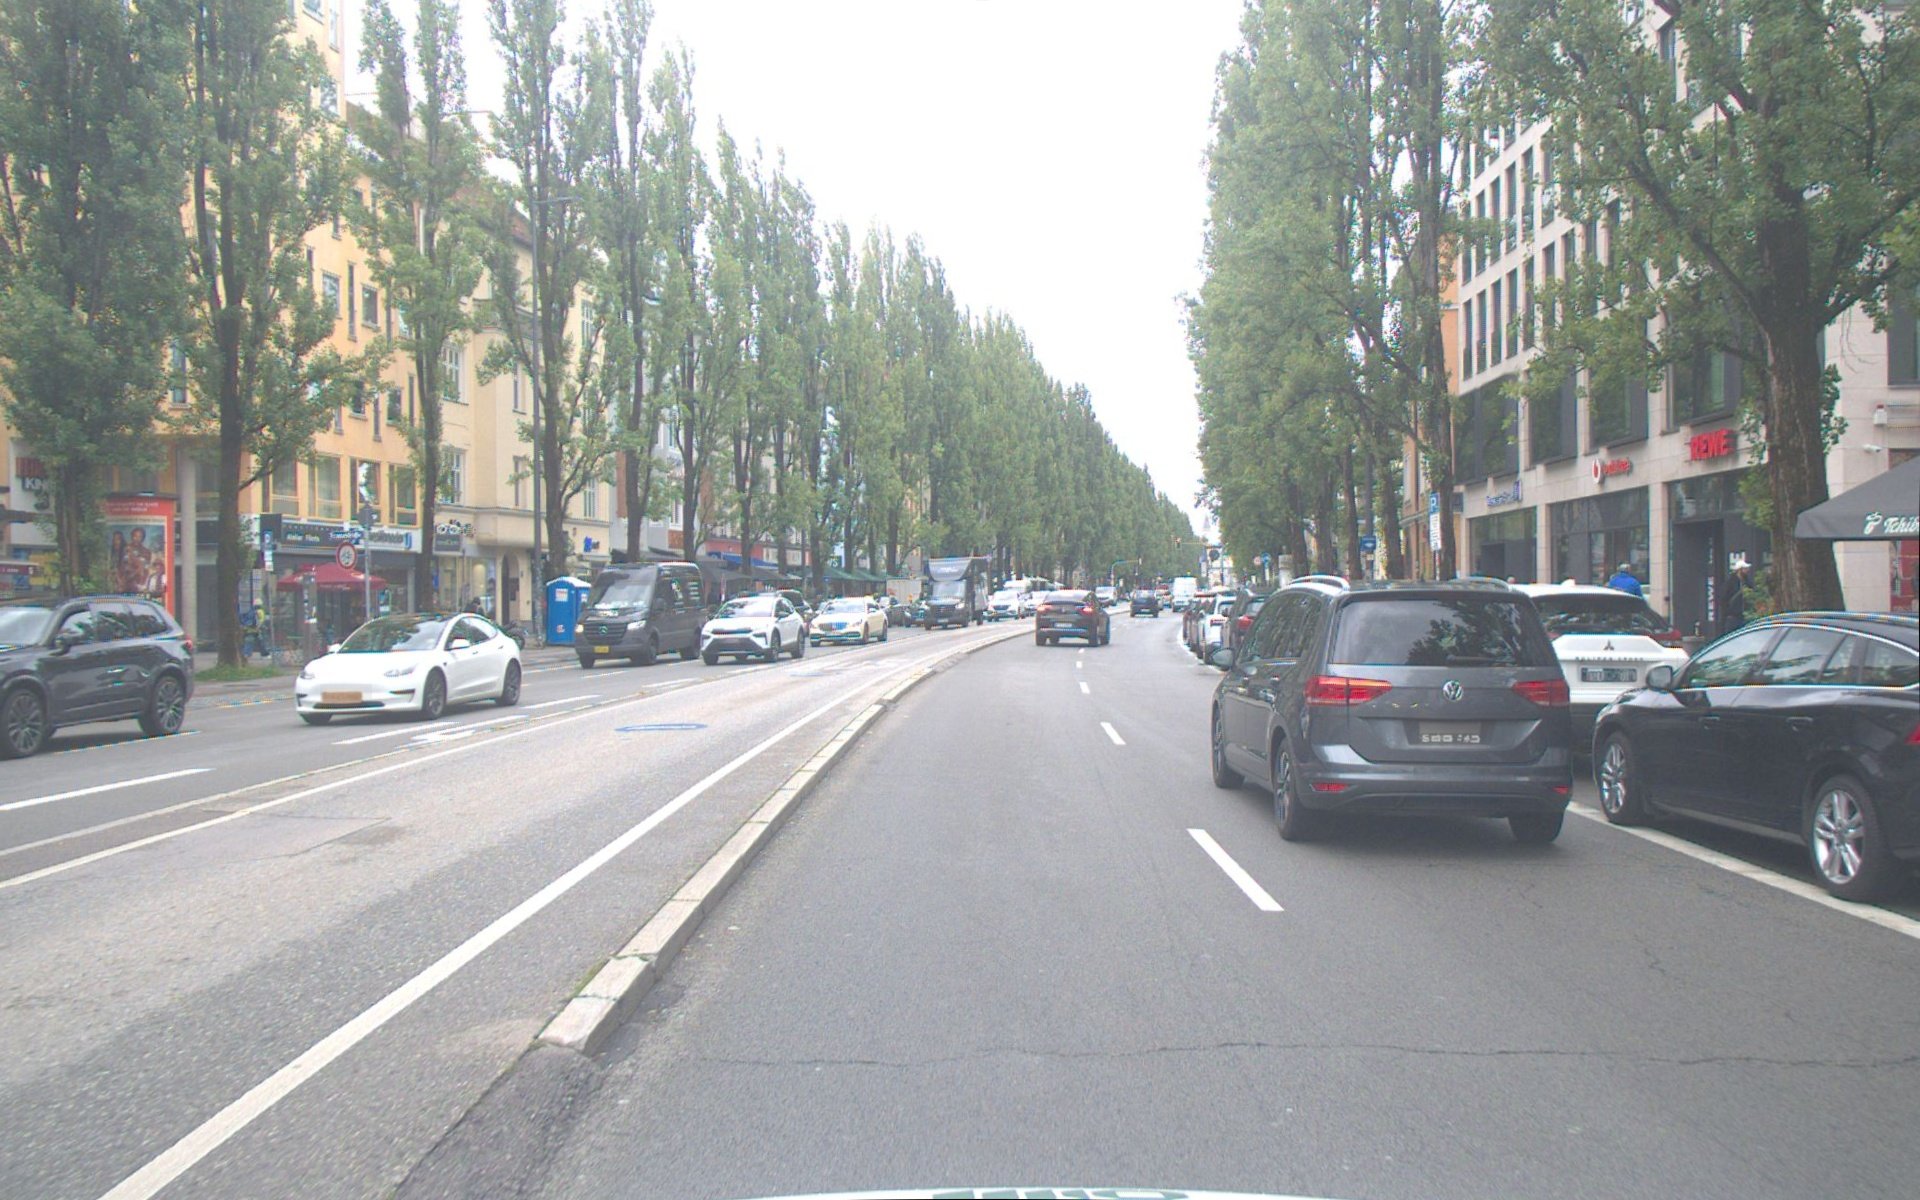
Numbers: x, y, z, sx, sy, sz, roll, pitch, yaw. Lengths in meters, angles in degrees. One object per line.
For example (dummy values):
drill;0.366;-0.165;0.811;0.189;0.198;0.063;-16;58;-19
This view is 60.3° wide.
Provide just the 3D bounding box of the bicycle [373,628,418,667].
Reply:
bicycle;-14.905;1.243;43.714;0.449;0.980;1.881;-1;0;2

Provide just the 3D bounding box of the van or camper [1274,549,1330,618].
van or camper;16.397;-0.786;79.402;2.407;3.166;4.720;-2;0;10

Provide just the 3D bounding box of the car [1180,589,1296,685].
car;5.390;0.688;32.545;1.884;1.730;4.653;1;0;5

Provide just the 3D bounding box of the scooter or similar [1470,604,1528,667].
scooter or similar;10.922;0.722;33.523;1.028;1.247;0.380;-1;0;1

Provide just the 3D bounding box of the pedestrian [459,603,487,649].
pedestrian;-17.337;0.920;58.922;0.620;1.589;0.816;-1;0;10

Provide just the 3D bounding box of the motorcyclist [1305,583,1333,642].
motorcyclist;8.950;0.305;41.289;0.552;1.431;0.766;-2;0;6

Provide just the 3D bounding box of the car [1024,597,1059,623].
car;5.472;0.664;110.964;1.898;1.671;4.467;-2;0;8

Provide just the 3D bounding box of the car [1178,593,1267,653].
car;7.020;0.581;44.624;1.890;1.475;4.806;-1;0;3

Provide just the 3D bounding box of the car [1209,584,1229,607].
car;23.201;-0.385;147.991;1.766;2.027;4.003;0;0;9

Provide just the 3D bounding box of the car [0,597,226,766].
car;-10.865;0.871;19.343;1.975;1.746;4.985;-1;0;5

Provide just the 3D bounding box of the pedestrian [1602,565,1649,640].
pedestrian;16.164;0.055;40.189;0.780;1.803;0.679;-1;0;-15

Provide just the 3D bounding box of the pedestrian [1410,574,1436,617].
pedestrian;17.223;-0.172;61.479;0.595;1.578;0.711;-2;0;-18

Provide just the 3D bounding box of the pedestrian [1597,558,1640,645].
pedestrian;12.836;0.028;32.266;0.597;1.647;0.795;-2;0;10

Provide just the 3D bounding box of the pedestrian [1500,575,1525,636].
pedestrian;15.262;0.153;45.680;0.540;1.666;0.557;-1;0;33

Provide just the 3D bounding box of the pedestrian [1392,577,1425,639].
pedestrian;14.113;0.248;52.029;0.800;1.902;0.939;-2;0;6

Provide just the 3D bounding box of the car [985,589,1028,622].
car;2.636;0.279;93.242;1.820;1.741;4.540;-2;0;9

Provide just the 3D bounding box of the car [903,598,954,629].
car;-1.556;0.643;84.104;1.898;1.459;4.542;-2;0;8

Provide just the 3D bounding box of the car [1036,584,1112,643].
car;3.460;0.371;49.613;1.840;1.670;4.587;-1;0;9

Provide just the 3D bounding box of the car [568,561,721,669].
car;-8.271;0.360;44.092;2.124;2.651;6.069;-1;0;8

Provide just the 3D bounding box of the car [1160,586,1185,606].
car;19.242;-0.389;149.347;1.951;1.747;4.004;-2;0;11

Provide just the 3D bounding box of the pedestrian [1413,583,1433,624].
pedestrian;19.002;0.138;67.817;0.714;1.654;0.805;-1;0;19

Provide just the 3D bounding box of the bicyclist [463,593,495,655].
bicyclist;-12.872;0.635;44.254;0.491;1.620;0.835;-1;0;9

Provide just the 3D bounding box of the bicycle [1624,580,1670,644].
bicycle;13.366;0.216;32.196;0.440;1.192;1.770;-1;0;11

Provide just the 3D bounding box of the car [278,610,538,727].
car;-7.747;0.898;23.730;1.761;1.419;4.693;-1;0;5

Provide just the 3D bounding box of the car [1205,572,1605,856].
car;2.887;0.653;11.661;1.725;1.642;4.184;0;0;0

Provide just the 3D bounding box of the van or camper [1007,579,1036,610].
van or camper;5.160;-0.477;138.563;1.951;2.501;4.255;-1;0;9

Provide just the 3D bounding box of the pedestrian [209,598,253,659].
pedestrian;-20.199;0.782;45.832;0.822;1.654;0.764;0;-1;7

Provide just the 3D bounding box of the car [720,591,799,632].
car;-7.801;0.426;64.754;1.898;1.519;4.300;-1;0;10

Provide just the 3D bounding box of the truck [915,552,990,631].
truck;-0.280;-0.408;76.548;2.242;3.381;7.163;-2;0;9

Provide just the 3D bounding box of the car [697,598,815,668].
car;-5.139;0.798;42.296;1.869;1.631;4.359;-1;0;8

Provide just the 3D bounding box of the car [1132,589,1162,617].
car;11.570;0.201;102.195;1.721;1.648;3.750;0;0;9

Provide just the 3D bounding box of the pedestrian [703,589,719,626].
pedestrian;-12.983;0.399;86.311;0.624;1.894;0.648;-2;0;9

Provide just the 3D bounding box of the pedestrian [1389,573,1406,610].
pedestrian;19.760;-0.377;74.750;0.658;1.641;0.641;-1;0;12

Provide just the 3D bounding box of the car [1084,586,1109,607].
car;13.354;-0.342;162.025;1.954;2.049;3.997;1;0;-3

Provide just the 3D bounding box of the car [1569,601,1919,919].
car;5.379;0.772;9.878;1.735;1.458;4.570;1;0;-1

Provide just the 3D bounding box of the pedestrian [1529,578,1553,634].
pedestrian;16.022;0.165;45.640;0.493;1.517;0.545;-1;0;34

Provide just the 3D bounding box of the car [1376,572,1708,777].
car;5.429;0.611;16.056;1.691;1.716;4.408;0;0;0

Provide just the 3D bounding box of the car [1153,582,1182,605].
car;16.623;-0.545;132.399;1.951;1.747;4.004;-2;0;11

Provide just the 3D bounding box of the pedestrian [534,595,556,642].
pedestrian;-16.016;0.709;63.832;0.527;1.777;0.756;0;0;9

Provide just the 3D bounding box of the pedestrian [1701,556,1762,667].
pedestrian;13.929;0.201;29.888;0.633;1.958;0.926;-2;0;1

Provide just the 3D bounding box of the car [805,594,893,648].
car;-3.650;0.659;55.444;1.951;1.616;5.199;-3;0;7

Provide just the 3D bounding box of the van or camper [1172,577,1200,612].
van or camper;17.111;-0.397;125.021;1.991;2.519;4.003;-1;-1;9

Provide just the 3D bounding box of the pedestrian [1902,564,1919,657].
pedestrian;18.495;0.191;31.833;0.420;1.781;0.465;-1;0;-24

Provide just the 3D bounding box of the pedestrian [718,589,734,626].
pedestrian;-12.237;0.406;86.358;0.624;1.894;0.648;-2;0;9

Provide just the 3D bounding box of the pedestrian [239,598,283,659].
pedestrian;-19.312;0.790;45.702;0.822;1.654;0.764;0;-1;7

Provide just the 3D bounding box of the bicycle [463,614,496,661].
bicycle;-12.863;1.005;44.268;0.360;1.222;1.155;-1;0;10

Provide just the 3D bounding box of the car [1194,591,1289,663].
car;6.501;0.587;38.604;1.772;1.526;4.809;-2;0;5

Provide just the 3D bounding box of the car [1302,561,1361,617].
car;16.607;-0.508;73.766;1.862;2.368;4.825;-2;0;21
